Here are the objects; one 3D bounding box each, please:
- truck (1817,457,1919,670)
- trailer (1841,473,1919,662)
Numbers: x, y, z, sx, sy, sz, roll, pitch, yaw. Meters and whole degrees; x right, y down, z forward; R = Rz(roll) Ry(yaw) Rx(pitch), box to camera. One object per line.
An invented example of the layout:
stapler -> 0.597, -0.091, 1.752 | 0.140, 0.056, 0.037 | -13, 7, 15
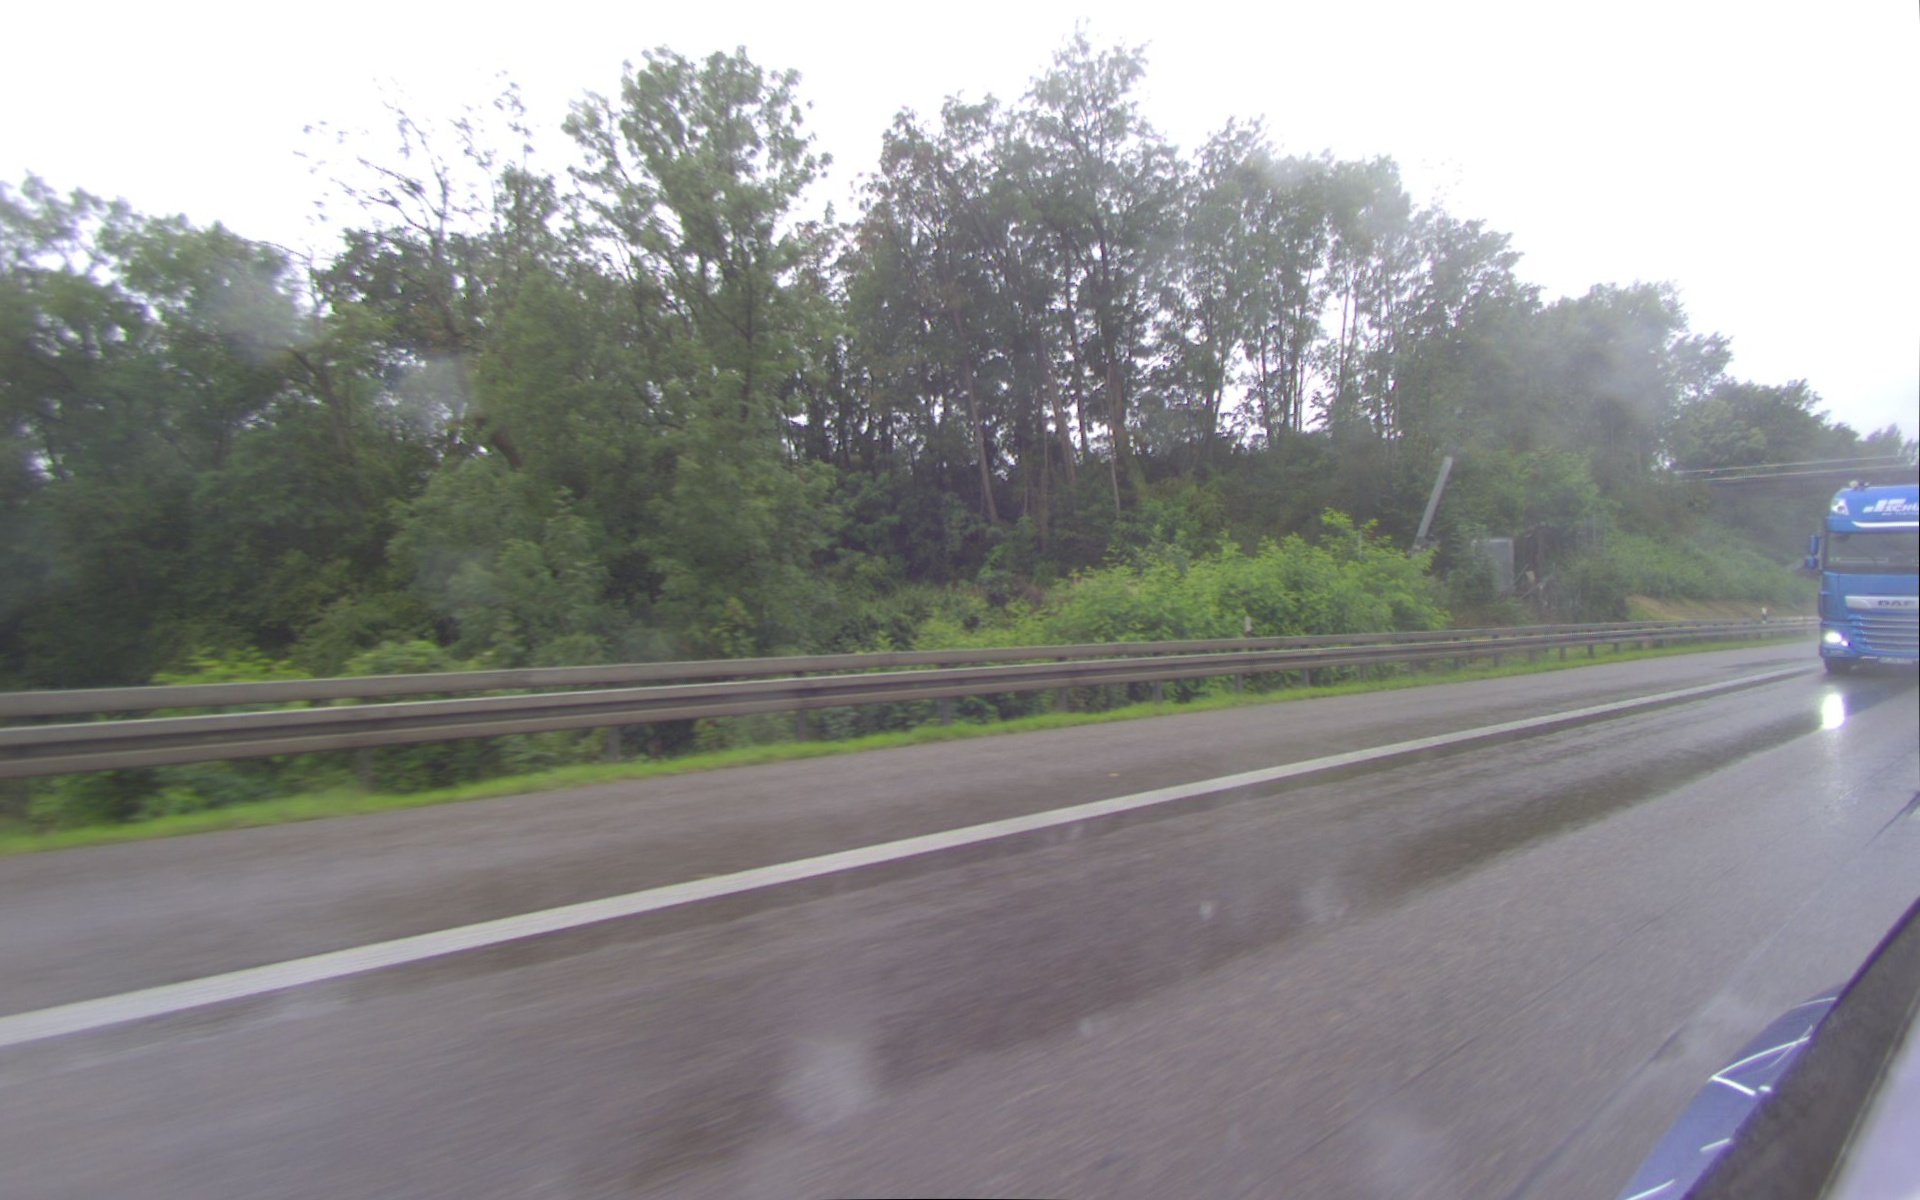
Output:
truck -> 20.921, -0.732, 21.758 | 6.367, 4.130, 2.754 | -1, 0, -40
trailer -> 25.849, -0.755, 25.867 | 13.877, 4.014, 2.750 | -1, 0, -40
